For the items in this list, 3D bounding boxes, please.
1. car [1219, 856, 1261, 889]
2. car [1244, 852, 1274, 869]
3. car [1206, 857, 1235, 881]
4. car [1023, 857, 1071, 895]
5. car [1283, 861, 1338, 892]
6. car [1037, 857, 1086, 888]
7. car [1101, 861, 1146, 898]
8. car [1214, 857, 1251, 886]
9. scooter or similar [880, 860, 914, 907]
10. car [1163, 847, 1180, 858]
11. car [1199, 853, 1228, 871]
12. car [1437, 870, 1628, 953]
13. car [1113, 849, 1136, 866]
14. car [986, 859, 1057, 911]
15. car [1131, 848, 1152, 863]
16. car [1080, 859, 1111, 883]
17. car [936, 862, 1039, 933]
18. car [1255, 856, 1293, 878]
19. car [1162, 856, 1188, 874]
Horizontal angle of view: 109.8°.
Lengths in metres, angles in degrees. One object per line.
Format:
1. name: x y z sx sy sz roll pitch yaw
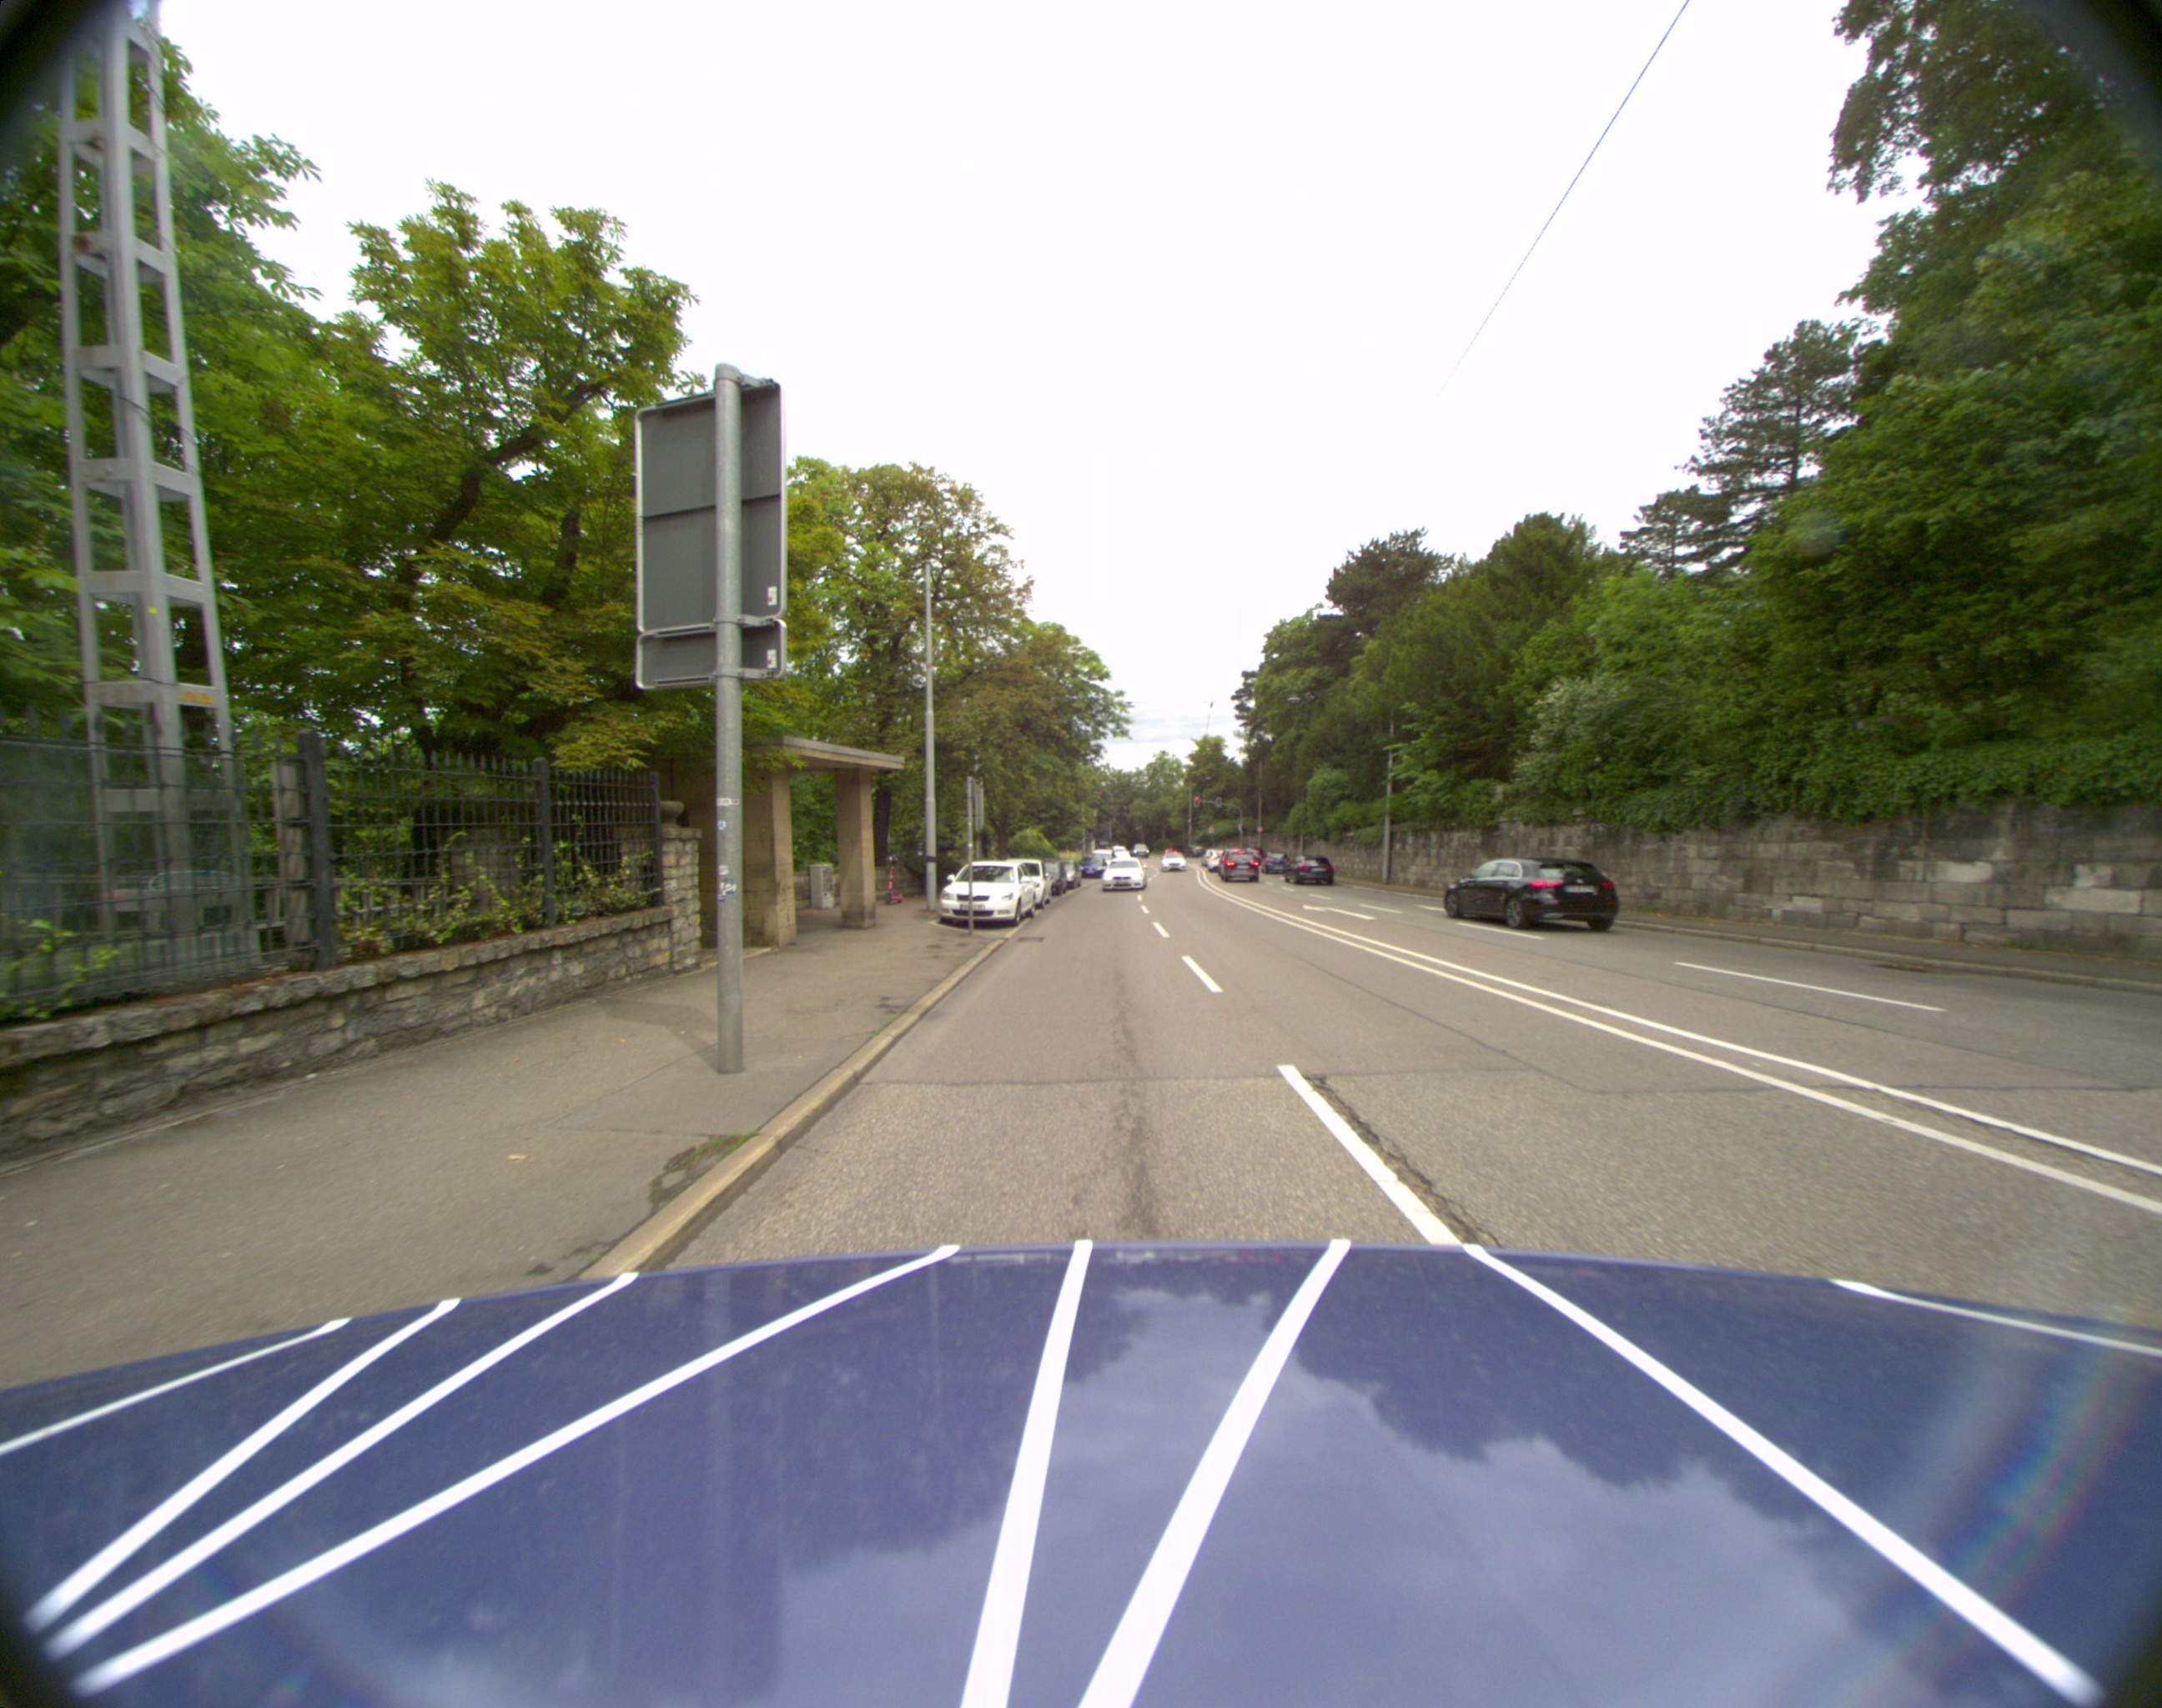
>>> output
1. car: 8.620 0.939 41.526 1.851 1.642 4.626 1 1 7
2. car: 15.516 0.556 66.358 2.006 1.401 4.758 -1 0 6
3. car: 10.323 1.079 56.448 1.841 1.545 4.791 -1 0 7
4. car: -1.390 0.886 31.915 1.564 1.414 3.425 2 1 4
5. car: 11.402 1.061 38.025 1.846 1.401 4.458 0 0 6
6. car: -0.898 0.865 37.389 1.773 1.390 4.553 1 1 6
7. car: 2.048 1.107 35.161 1.822 1.462 4.786 -3 0 5
8. car: 9.695 1.075 48.955 1.963 1.739 4.880 0 1 7
9. scooter or similar: -5.130 0.816 21.237 0.517 1.253 1.169 2 0 7
10. car: 12.064 -0.168 101.312 1.635 1.425 3.958 -2 0 -1
11. car: 11.573 0.676 66.571 1.998 1.461 4.879 0 1 3
12. car: 9.197 1.097 15.938 1.566 1.394 4.254 0 0 2
13. car: 4.693 0.417 82.300 1.959 1.761 3.998 -1 0 -5
14. car: -1.815 0.925 24.437 1.719 1.463 4.039 3 0 3
15. car: 7.252 0.195 91.446 1.958 1.730 3.999 -1 0 -2
16. car: 0.996 1.067 50.003 1.600 1.451 3.944 1 1 8
17. car: -2.113 0.940 18.368 1.679 1.452 4.367 1 0 3
18. car: 12.976 0.860 51.319 1.846 1.428 4.001 1 0 4
19. car: 7.436 0.835 59.902 1.801 1.382 3.530 0 0 10
